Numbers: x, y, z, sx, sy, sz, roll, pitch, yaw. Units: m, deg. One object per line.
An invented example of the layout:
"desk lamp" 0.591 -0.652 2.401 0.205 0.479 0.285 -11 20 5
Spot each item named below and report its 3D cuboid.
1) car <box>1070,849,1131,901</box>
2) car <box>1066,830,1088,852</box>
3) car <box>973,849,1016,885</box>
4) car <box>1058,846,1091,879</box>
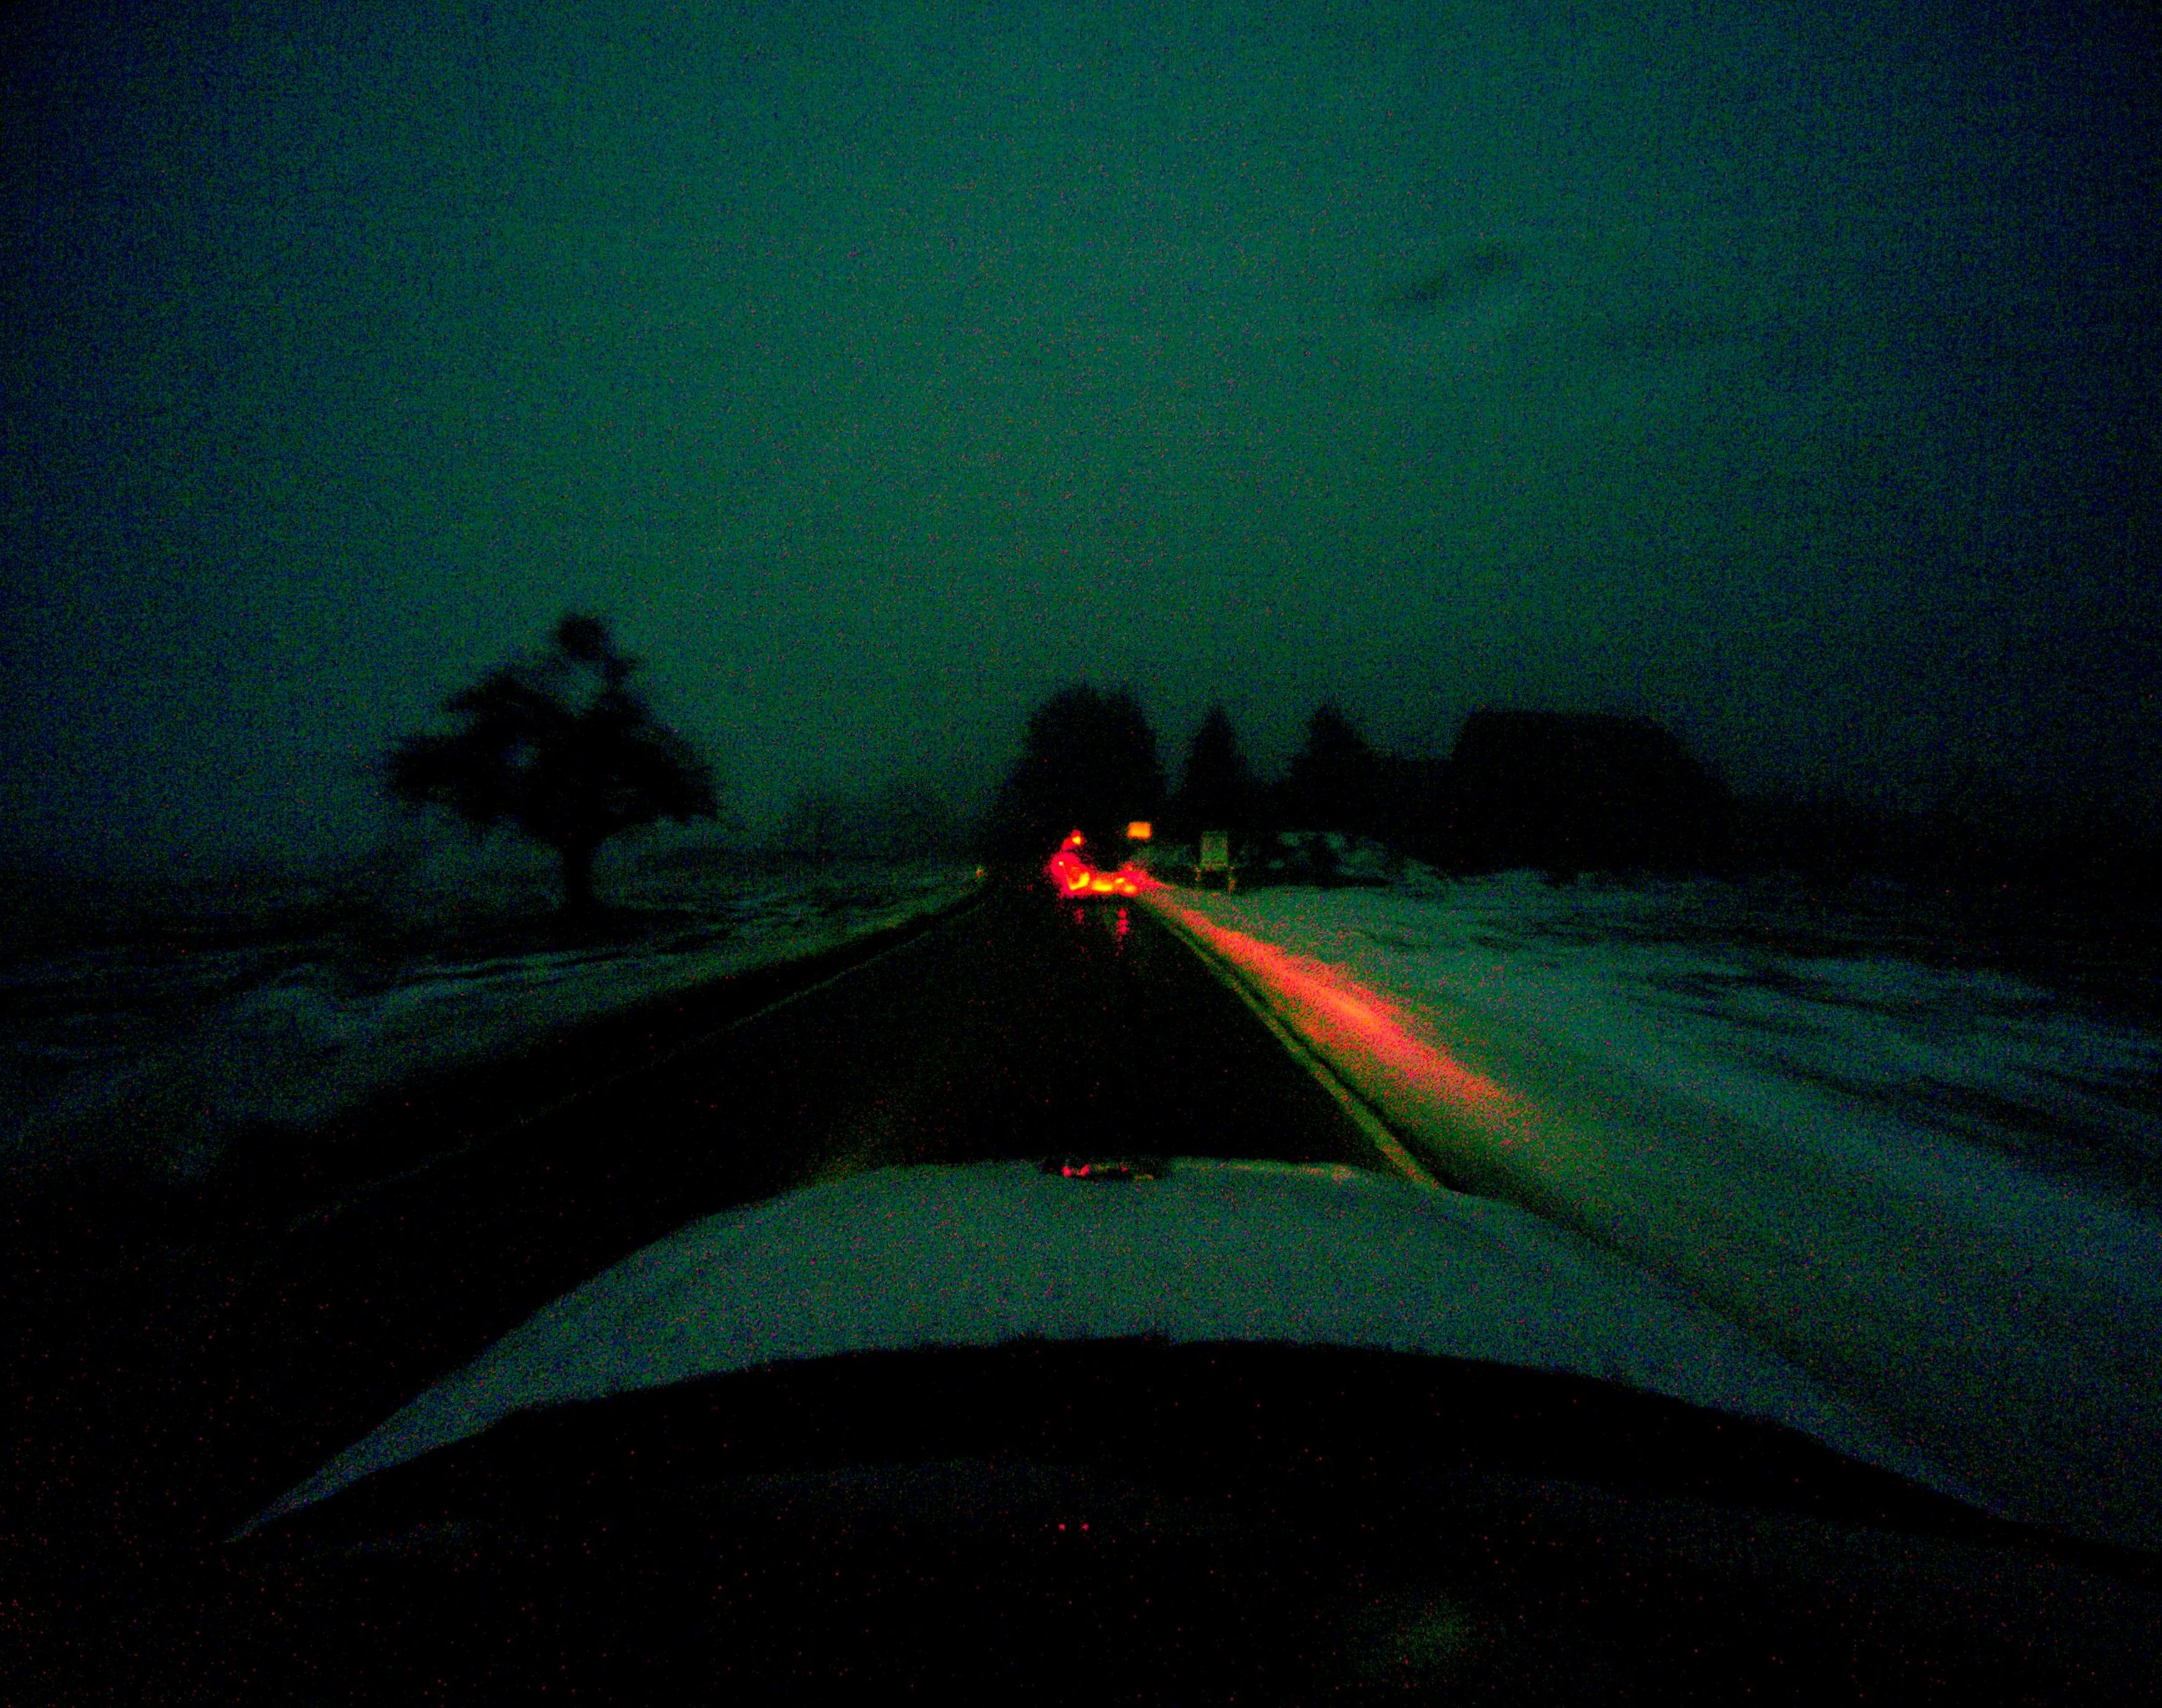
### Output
"car" 0.565 0.691 26.536 1.702 1.463 3.996 3 -2 -2
"car" -0.282 -0.906 59.611 1.473 1.508 3.054 -2 -1 1
"car" -3.903 0.581 37.214 1.517 1.508 3.054 -2 -1 1
"car" -0.289 0.397 40.151 1.473 1.508 3.054 -2 0 1
